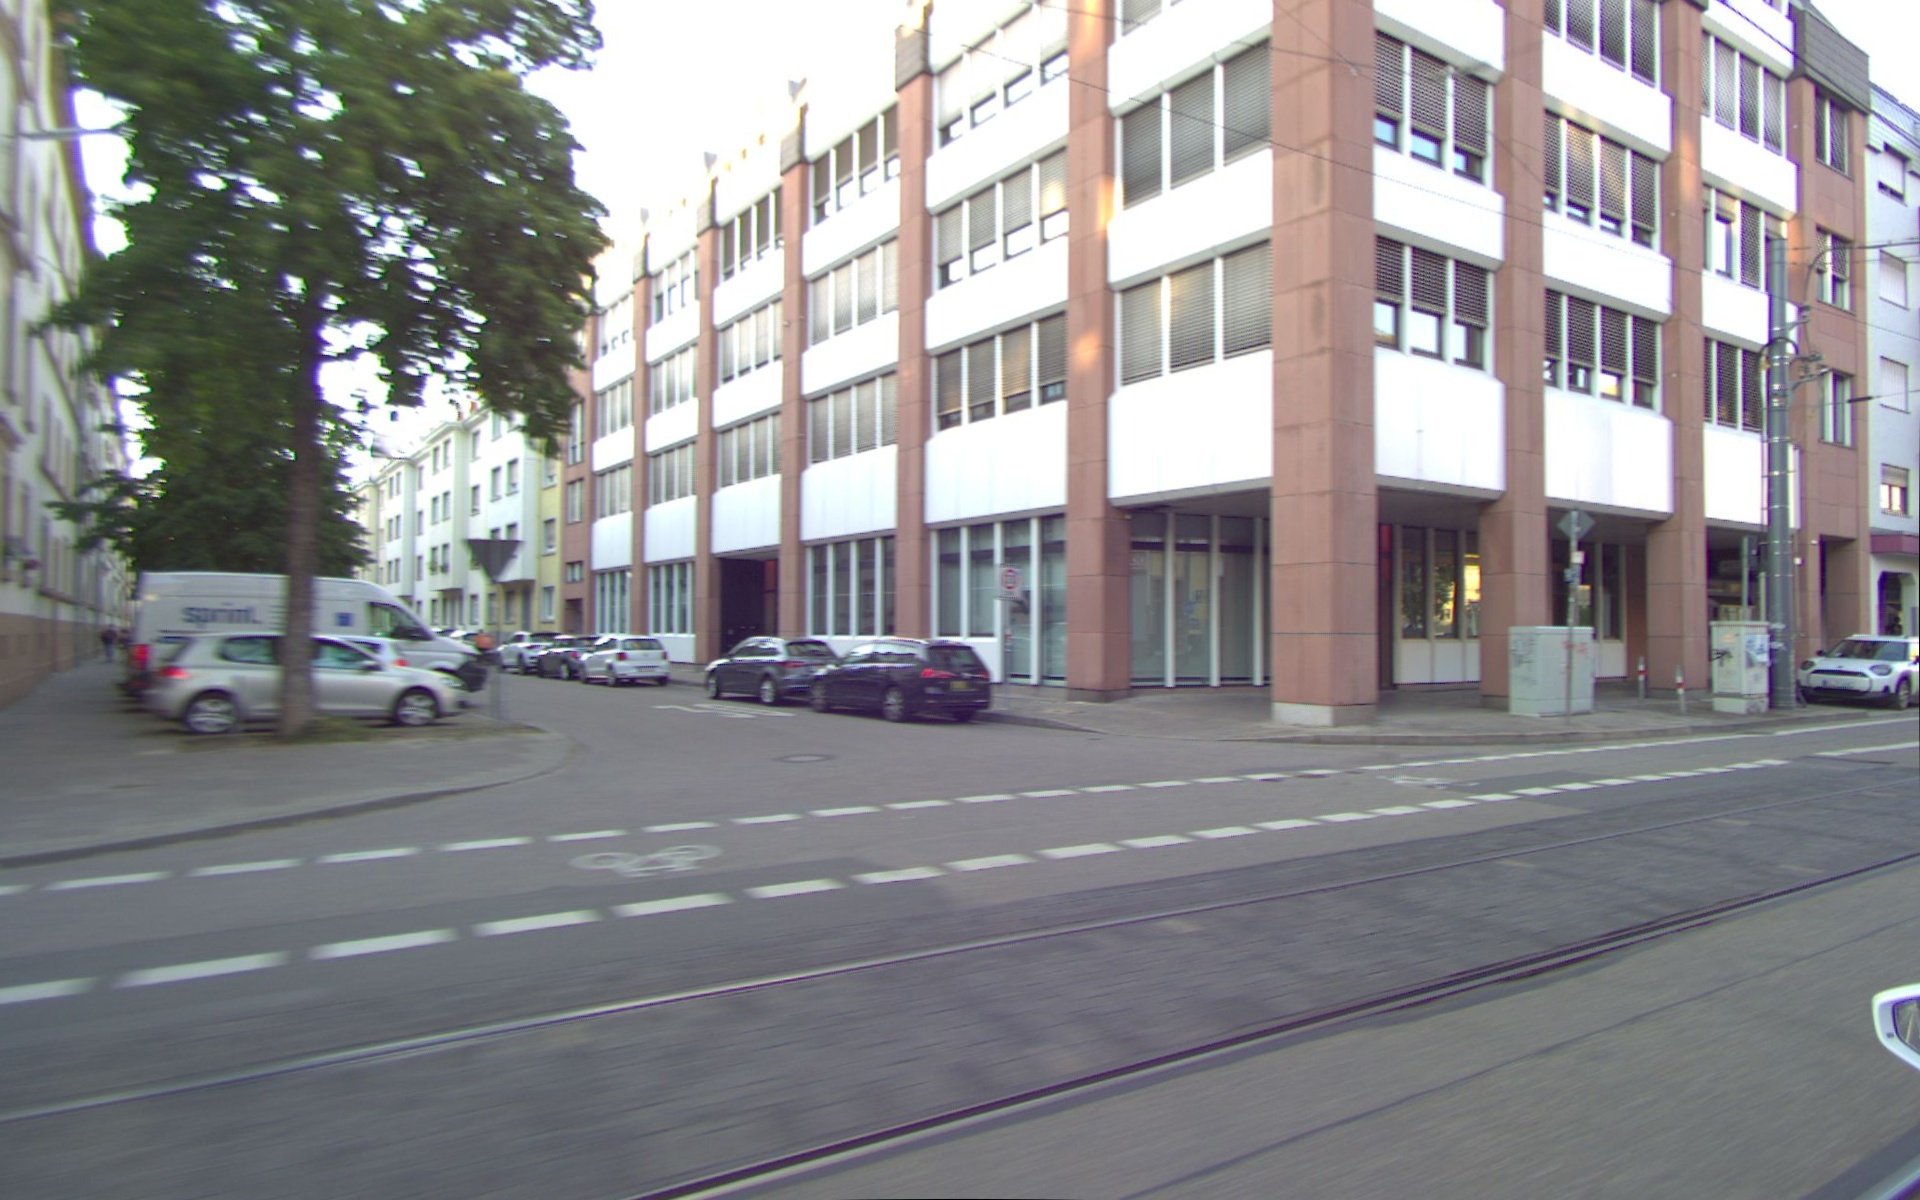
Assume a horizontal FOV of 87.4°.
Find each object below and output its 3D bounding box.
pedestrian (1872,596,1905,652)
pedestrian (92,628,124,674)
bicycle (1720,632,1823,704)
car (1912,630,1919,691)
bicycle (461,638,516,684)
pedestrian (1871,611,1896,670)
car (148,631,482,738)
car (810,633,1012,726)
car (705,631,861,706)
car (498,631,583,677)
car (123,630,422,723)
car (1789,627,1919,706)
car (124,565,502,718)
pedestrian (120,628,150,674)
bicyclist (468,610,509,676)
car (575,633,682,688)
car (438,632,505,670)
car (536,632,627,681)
[{"bbox_3d":[31.583,0.824,34.187,0.518,1.897,0.615,0,-1,-9],"label":"pedestrian"},{"bbox_3d":[-37.899,2.261,44.687,0.916,2.040,0.870,1,-2,-33],"label":"pedestrian"},{"bbox_3d":[16.339,1.346,20.224,2.225,1.396,0.607,1,-1,-22],"label":"bicycle"},{"bbox_3d":[25.564,1.545,25.081,3.436,1.499,1.604,1,0,-28],"label":"car"},{"bbox_3d":[-15.022,1.902,31.959,0.949,1.372,3.148,1,-2,-37],"label":"bicycle"},{"bbox_3d":[32.247,1.418,35.076,0.522,2.040,0.520,1,-2,-34],"label":"pedestrian"},{"bbox_3d":[-9.884,1.205,15.604,4.142,1.441,1.979,1,-2,-38],"label":"car"},{"bbox_3d":[-1.015,1.413,18.727,1.906,1.524,3.960,3,-4,-36],"label":"car"},{"bbox_3d":[-4.055,1.508,22.623,1.906,1.524,3.960,3,-4,-36],"label":"car"},{"bbox_3d":[-15.656,1.970,37.383,1.907,1.624,3.955,2,-3,-39],"label":"car"},{"bbox_3d":[-11.916,1.253,17.631,4.142,1.441,1.776,1,-2,-38],"label":"car"},{"bbox_3d":[20.440,1.418,22.347,4.152,1.576,1.709,1,0,-29],"label":"car"},{"bbox_3d":[-12.634,0.796,20.029,6.077,2.623,2.074,1,-2,-38],"label":"car"},{"bbox_3d":[-37.118,2.275,45.204,0.916,2.040,0.870,1,-2,-33],"label":"pedestrian"},{"bbox_3d":[-15.008,1.355,31.954,0.939,2.040,1.205,1,-2,-38],"label":"bicyclist"},{"bbox_3d":[-9.890,1.742,29.779,1.905,1.524,3.960,1,-3,-36],"label":"car"},{"bbox_3d":[-22.114,2.282,45.390,1.907,1.624,3.956,2,-3,-39],"label":"car"},{"bbox_3d":[-12.753,1.862,33.726,1.905,1.524,3.960,1,-3,-36],"label":"car"}]
